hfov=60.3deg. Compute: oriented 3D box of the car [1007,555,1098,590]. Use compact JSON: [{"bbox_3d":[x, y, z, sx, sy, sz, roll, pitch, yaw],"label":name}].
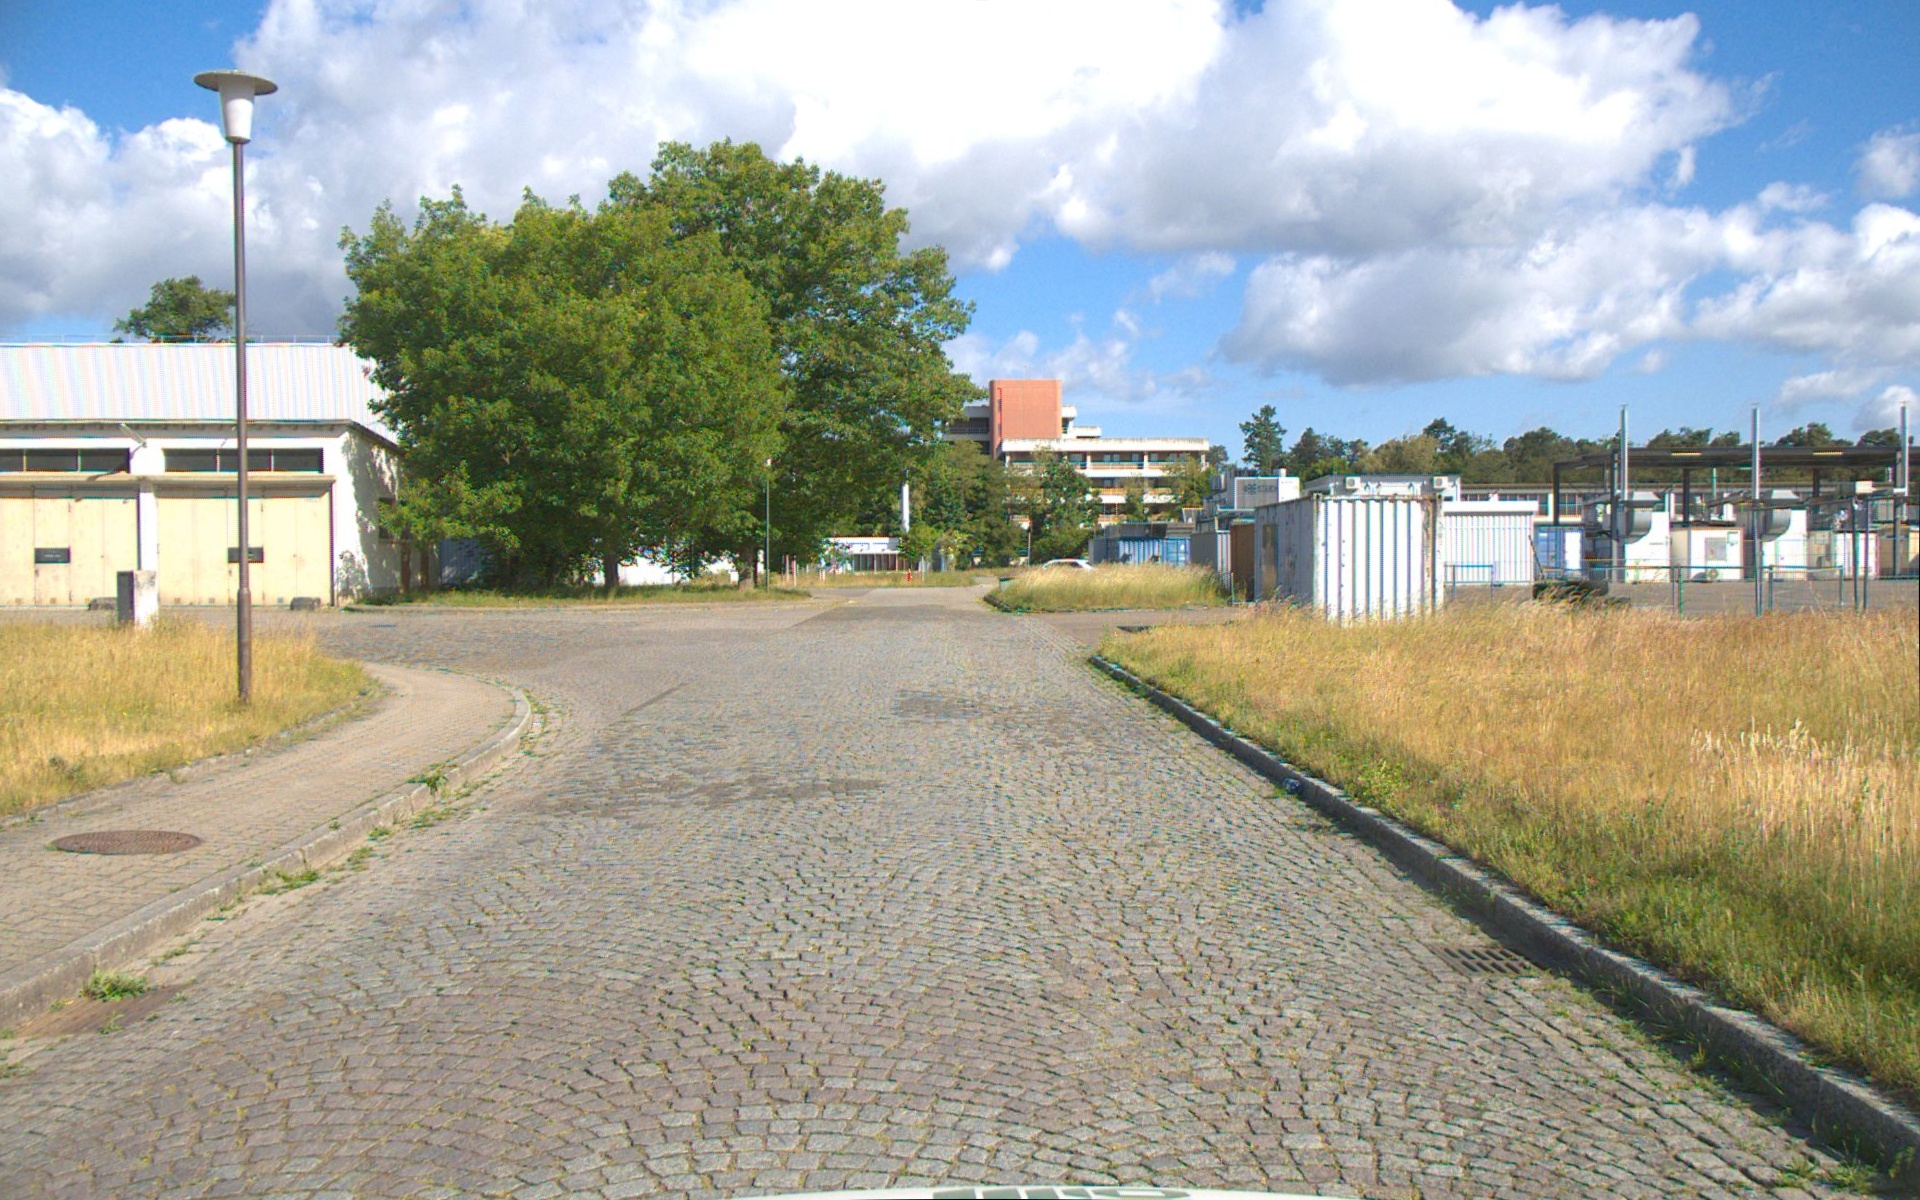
[{"bbox_3d":[4.661,-1.416,84.035,4.414,1.676,1.999,-1,1,-3],"label":"car"}]
